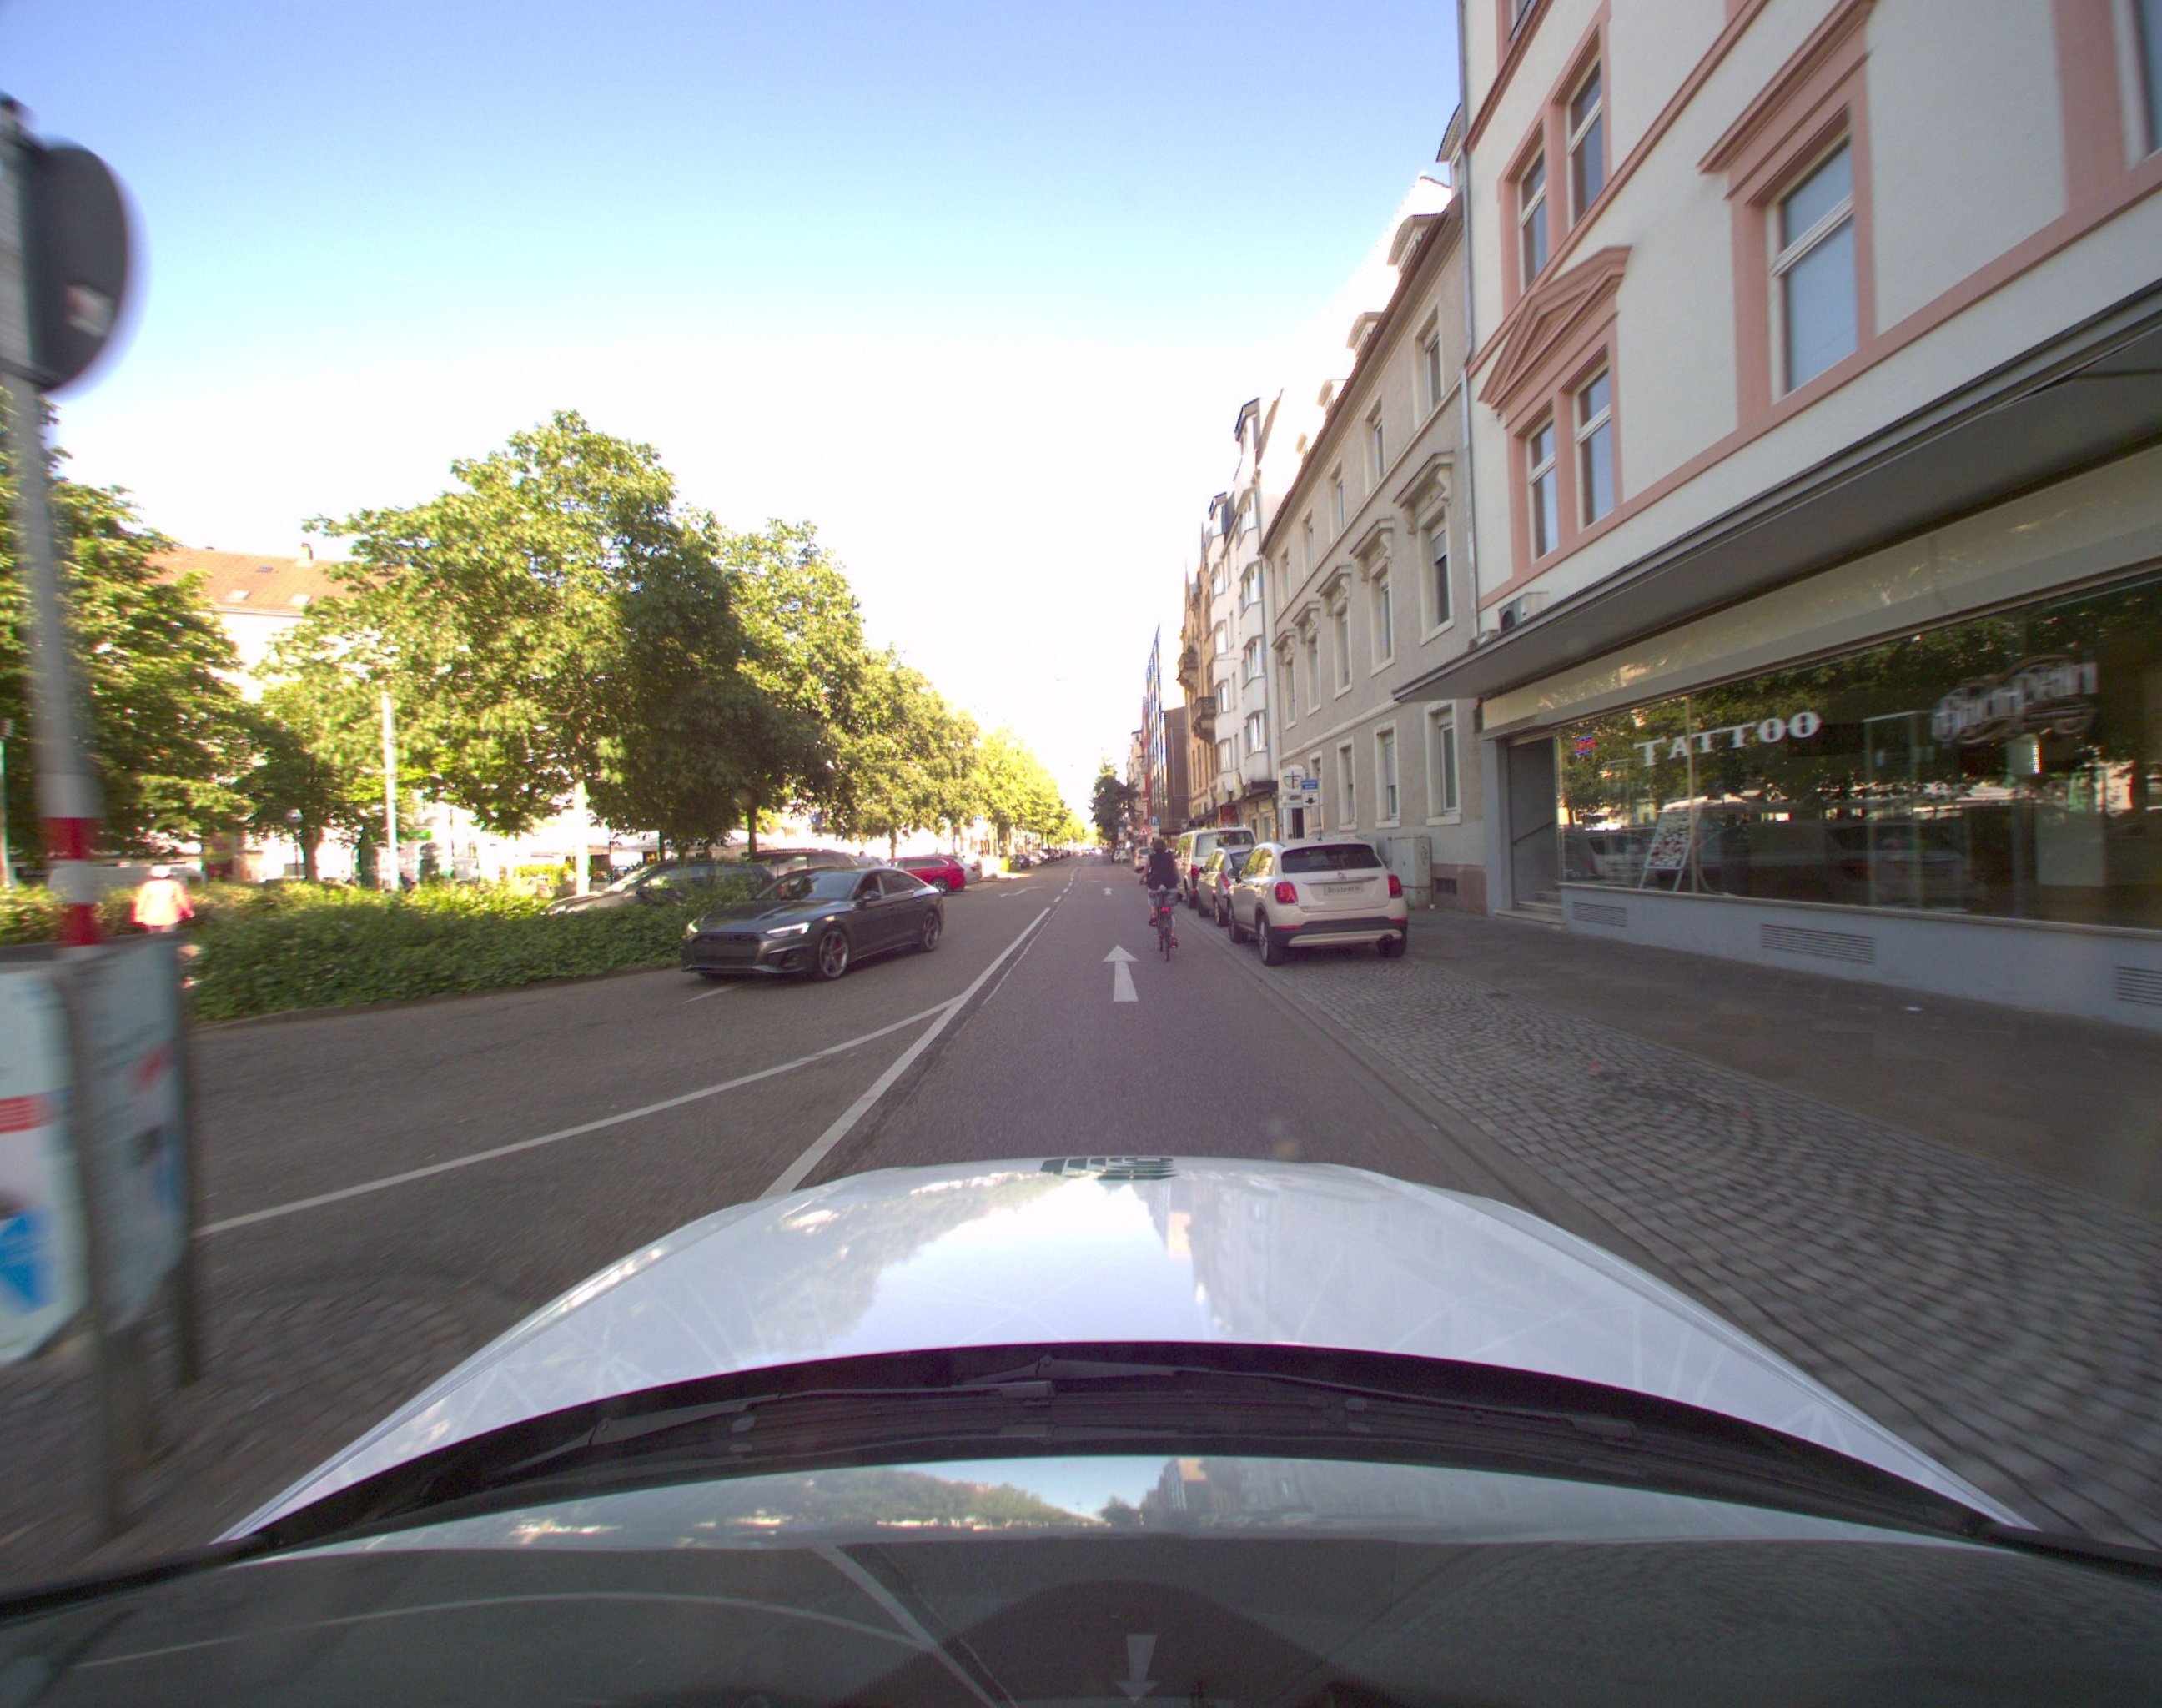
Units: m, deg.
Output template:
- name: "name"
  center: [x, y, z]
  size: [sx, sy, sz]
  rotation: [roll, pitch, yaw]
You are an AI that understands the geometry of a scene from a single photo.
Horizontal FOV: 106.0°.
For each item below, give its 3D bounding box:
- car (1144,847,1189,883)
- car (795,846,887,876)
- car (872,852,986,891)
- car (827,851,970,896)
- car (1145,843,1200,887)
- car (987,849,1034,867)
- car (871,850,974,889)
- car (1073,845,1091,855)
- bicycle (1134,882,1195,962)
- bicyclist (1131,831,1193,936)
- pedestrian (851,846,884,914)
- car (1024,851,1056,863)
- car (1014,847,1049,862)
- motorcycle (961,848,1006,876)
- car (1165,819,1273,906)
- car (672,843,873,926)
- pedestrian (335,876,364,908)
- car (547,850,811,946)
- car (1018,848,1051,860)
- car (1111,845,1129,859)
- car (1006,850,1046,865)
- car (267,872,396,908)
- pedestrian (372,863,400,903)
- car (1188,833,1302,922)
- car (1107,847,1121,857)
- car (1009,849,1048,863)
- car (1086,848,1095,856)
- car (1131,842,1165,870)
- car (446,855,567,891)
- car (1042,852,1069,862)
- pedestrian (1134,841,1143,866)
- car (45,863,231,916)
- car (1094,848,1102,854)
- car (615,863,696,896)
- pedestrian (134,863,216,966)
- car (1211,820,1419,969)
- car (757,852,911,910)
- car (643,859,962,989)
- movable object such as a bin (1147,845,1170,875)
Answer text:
- name: "car"
  center: [3.695, 0.483, 35.638]
  size: [1.672, 1.448, 3.787]
  rotation: [-1, -1, 2]
- name: "car"
  center: [-15.106, 0.404, 51.270]
  size: [5.290, 1.800, 2.145]
  rotation: [-1, -1, -26]
- name: "car"
  center: [-6.133, 0.677, 32.910]
  size: [4.244, 1.477, 1.720]
  rotation: [0, -1, -27]
- name: "car"
  center: [-6.645, 0.677, 29.693]
  size: [4.855, 1.488, 1.751]
  rotation: [-1, -1, -23]
- name: "car"
  center: [3.501, 0.421, 31.702]
  size: [1.712, 1.515, 3.583]
  rotation: [-4, -1, 1]
- name: "car"
  center: [-6.380, 0.339, 73.897]
  size: [3.972, 1.508, 2.001]
  rotation: [-1, 0, 2]
- name: "car"
  center: [-6.858, 0.650, 35.361]
  size: [4.012, 1.586, 1.813]
  rotation: [0, -1, -31]
- name: "car"
  center: [0.212, -0.943, 188.771]
  size: [3.961, 2.013, 2.006]
  rotation: [-1, 0, 11]
- name: "bicycle"
  center: [1.172, 0.936, 11.941]
  size: [0.650, 0.958, 2.698]
  rotation: [-1, -1, 1]
- name: "bicyclist"
  center: [1.163, 0.411, 11.894]
  size: [0.783, 1.453, 1.096]
  rotation: [-1, -1, 1]
- name: "pedestrian"
  center: [-5.318, 0.639, 20.310]
  size: [0.698, 1.649, 0.645]
  rotation: [-1, -1, -6]
- name: "car"
  center: [-5.371, 0.393, 107.301]
  size: [3.973, 1.508, 2.000]
  rotation: [-1, 0, 1]
- name: "car"
  center: [-5.862, 0.091, 96.478]
  size: [3.972, 1.674, 2.090]
  rotation: [-1, 0, 2]
- name: "motorcycle"
  center: [-6.039, 0.486, 50.487]
  size: [2.451, 1.604, 1.005]
  rotation: [-3, 0, 19]
- name: "car"
  center: [3.548, 0.175, 21.984]
  size: [1.987, 2.004, 5.117]
  rotation: [-2, 0, 0]
- name: "car"
  center: [-6.727, 0.613, 18.269]
  size: [3.994, 1.668, 1.990]
  rotation: [-1, 0, -15]
- name: "pedestrian"
  center: [-29.105, 1.490, 32.414]
  size: [0.670, 1.236, 0.557]
  rotation: [-1, -1, -7]
- name: "car"
  center: [-7.103, 0.691, 14.492]
  size: [4.015, 1.470, 1.855]
  rotation: [0, -1, -34]
- name: "car"
  center: [-5.798, 0.026, 102.686]
  size: [3.972, 1.508, 1.895]
  rotation: [-1, 0, 2]
- name: "car"
  center: [4.547, -0.223, 93.946]
  size: [1.985, 1.618, 4.014]
  rotation: [-1, -1, 4]
- name: "car"
  center: [-5.813, 0.372, 86.560]
  size: [3.972, 1.508, 2.001]
  rotation: [-1, 0, 2]
- name: "car"
  center: [-41.416, 1.945, 45.127]
  size: [4.874, 1.804, 1.896]
  rotation: [-1, -1, -21]
- name: "pedestrian"
  center: [-27.890, 1.159, 32.679]
  size: [0.665, 1.547, 0.561]
  rotation: [-1, -1, 18]
- name: "car"
  center: [3.290, 0.452, 16.981]
  size: [1.693, 1.604, 3.758]
  rotation: [-2, -1, 2]
- name: "car"
  center: [5.129, -0.356, 126.327]
  size: [1.986, 1.453, 4.001]
  rotation: [-2, 0, 1]
- name: "car"
  center: [-5.720, 0.245, 88.956]
  size: [3.972, 1.508, 2.001]
  rotation: [-1, 0, 2]
- name: "car"
  center: [2.094, -0.424, 176.253]
  size: [1.986, 1.556, 4.002]
  rotation: [-1, -1, 2]
- name: "car"
  center: [4.312, 0.162, 52.805]
  size: [1.892, 1.675, 4.825]
  rotation: [-1, -1, 1]
- name: "car"
  center: [-33.823, 1.085, 48.169]
  size: [5.604, 2.014, 1.802]
  rotation: [-1, -1, -26]
- name: "car"
  center: [-3.861, 0.444, 124.871]
  size: [3.968, 1.508, 2.003]
  rotation: [0, 0, 4]
- name: "pedestrian"
  center: [4.069, -0.015, 57.333]
  size: [0.611, 1.735, 0.634]
  rotation: [-1, -1, 2]
- name: "car"
  center: [-44.154, 1.618, 38.324]
  size: [5.358, 2.314, 1.985]
  rotation: [-1, -1, -22]
- name: "car"
  center: [4.286, -0.712, 207.641]
  size: [1.863, 1.556, 4.002]
  rotation: [-1, -1, 2]
- name: "car"
  center: [-24.429, 1.417, 46.916]
  size: [3.922, 1.771, 1.966]
  rotation: [-1, -1, -22]
- name: "pedestrian"
  center: [-14.065, 0.905, 12.667]
  size: [0.774, 1.522, 0.947]
  rotation: [0, -1, -44]
- name: "car"
  center: [3.167, 0.498, 12.112]
  size: [1.739, 1.739, 4.961]
  rotation: [-1, -1, 1]
- name: "car"
  center: [-7.186, 0.770, 23.955]
  size: [3.977, 1.598, 1.748]
  rotation: [-1, -1, -3]
- name: "car"
  center: [-3.499, 0.796, 11.444]
  size: [1.898, 1.417, 4.828]
  rotation: [-1, -1, 14]
- name: "movable object such as a bin"
  center: [4.008, 0.291, 42.162]
  size: [1.068, 1.457, 1.495]
  rotation: [-5, 1, 6]
